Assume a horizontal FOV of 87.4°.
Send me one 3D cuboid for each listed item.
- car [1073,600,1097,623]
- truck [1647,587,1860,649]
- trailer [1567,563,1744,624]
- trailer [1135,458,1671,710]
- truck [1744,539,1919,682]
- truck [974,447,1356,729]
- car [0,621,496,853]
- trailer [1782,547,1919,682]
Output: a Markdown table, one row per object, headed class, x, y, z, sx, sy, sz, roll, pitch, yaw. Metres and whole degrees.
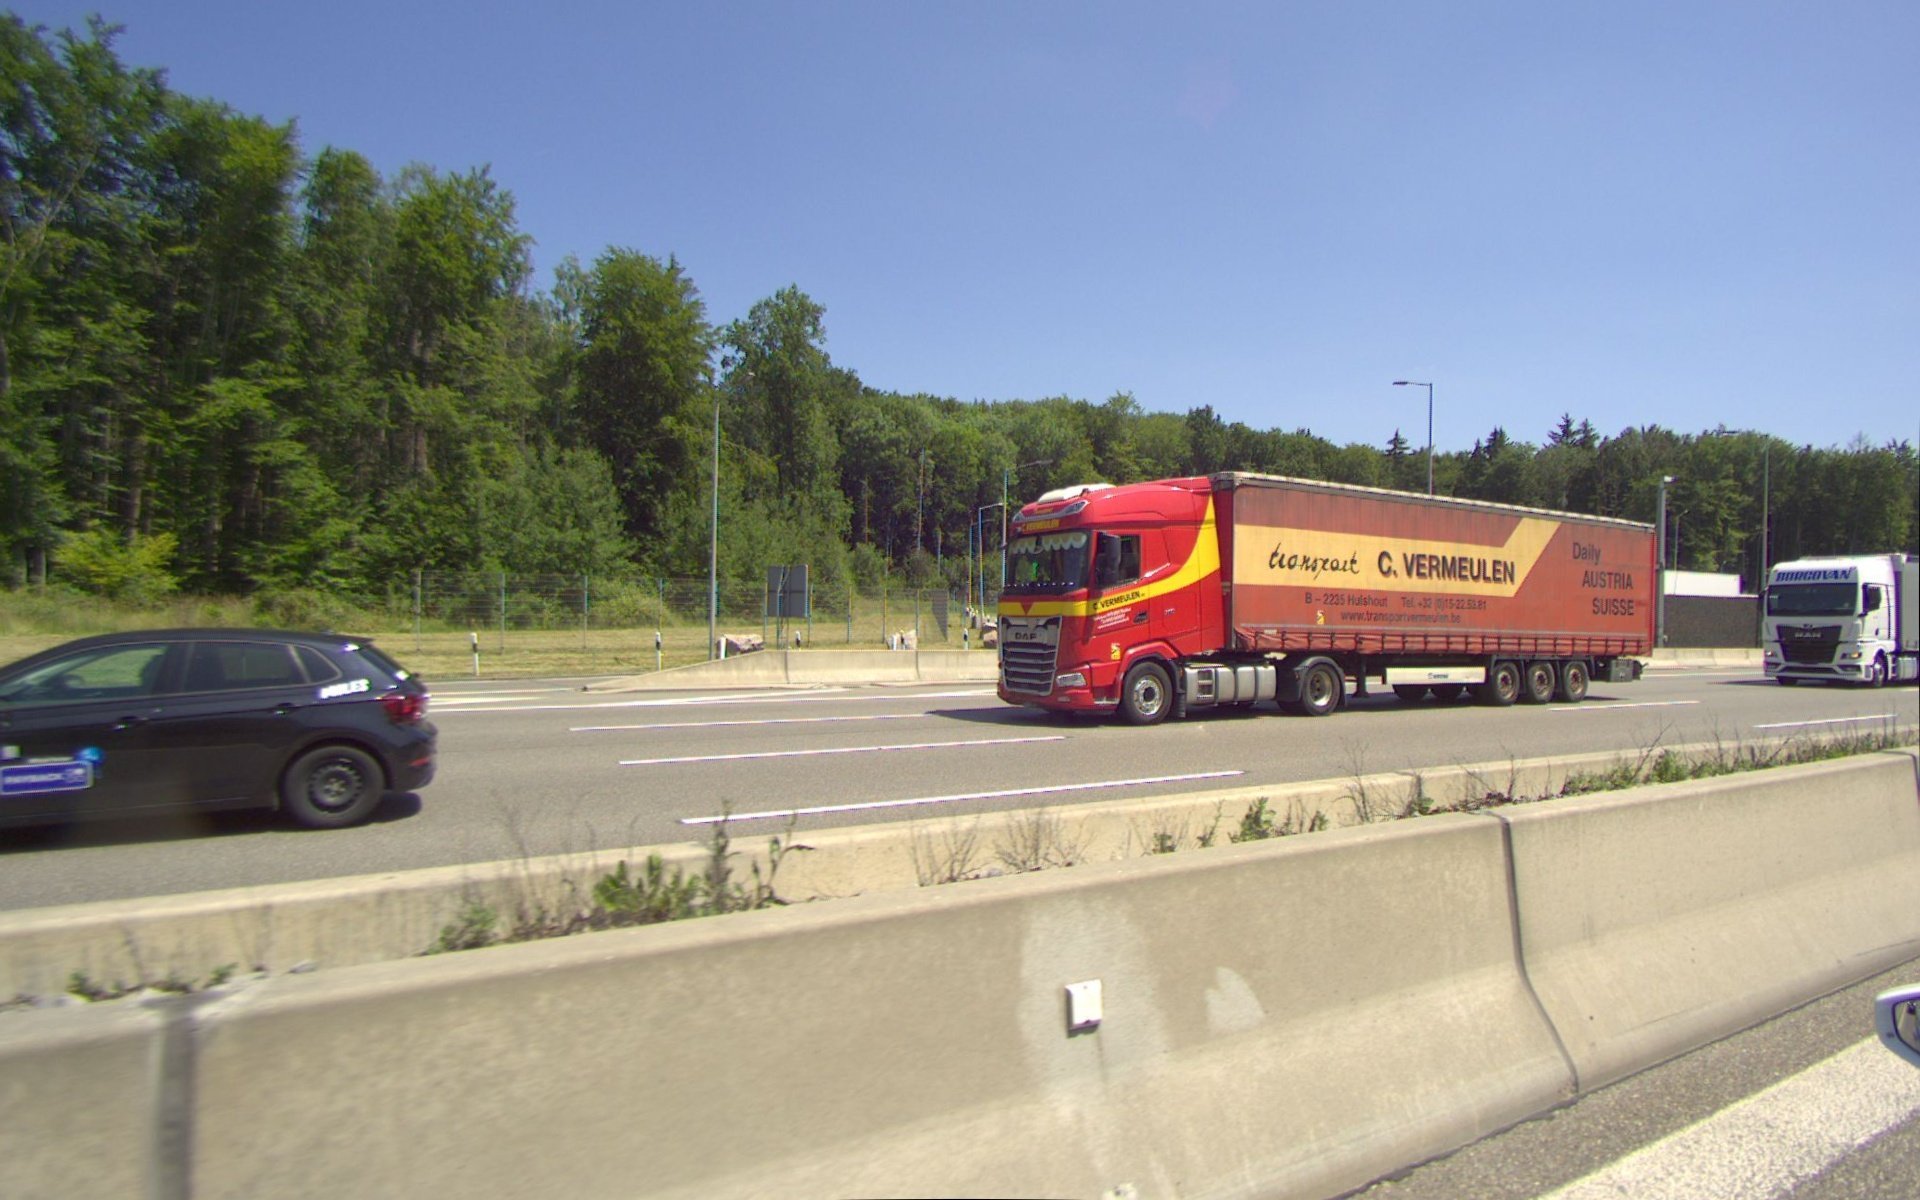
| class | x | y | z | sx | sy | sz | roll | pitch | yaw |
| --- | --- | --- | --- | --- | --- | --- | --- | --- | --- |
| car | 11.512 | 1.042 | 92.747 | 1.960 | 2.040 | 4.002 | 1 | -1 | 4 |
| truck | 78.015 | 1.706 | 99.232 | 16.374 | 5.687 | 3.452 | 1 | 0 | 15 |
| trailer | 41.992 | -0.260 | 60.308 | 14.439 | 3.165 | 2.957 | 2 | 0 | -31 |
| trailer | 9.932 | -0.100 | 21.026 | 14.016 | 4.103 | 2.559 | 1 | -1 | -31 |
| truck | 27.803 | 0.392 | 31.569 | 6.702 | 4.085 | 2.722 | 2 | -1 | -30 |
| truck | 3.640 | -0.105 | 17.305 | 6.396 | 4.103 | 2.515 | 1 | -1 | -30 |
| car | -5.837 | 0.883 | 7.368 | 4.265 | 1.406 | 1.812 | 1 | -1 | -30 |
| trailer | 33.442 | 0.600 | 34.938 | 14.298 | 4.054 | 2.741 | 1 | -1 | -31 |
